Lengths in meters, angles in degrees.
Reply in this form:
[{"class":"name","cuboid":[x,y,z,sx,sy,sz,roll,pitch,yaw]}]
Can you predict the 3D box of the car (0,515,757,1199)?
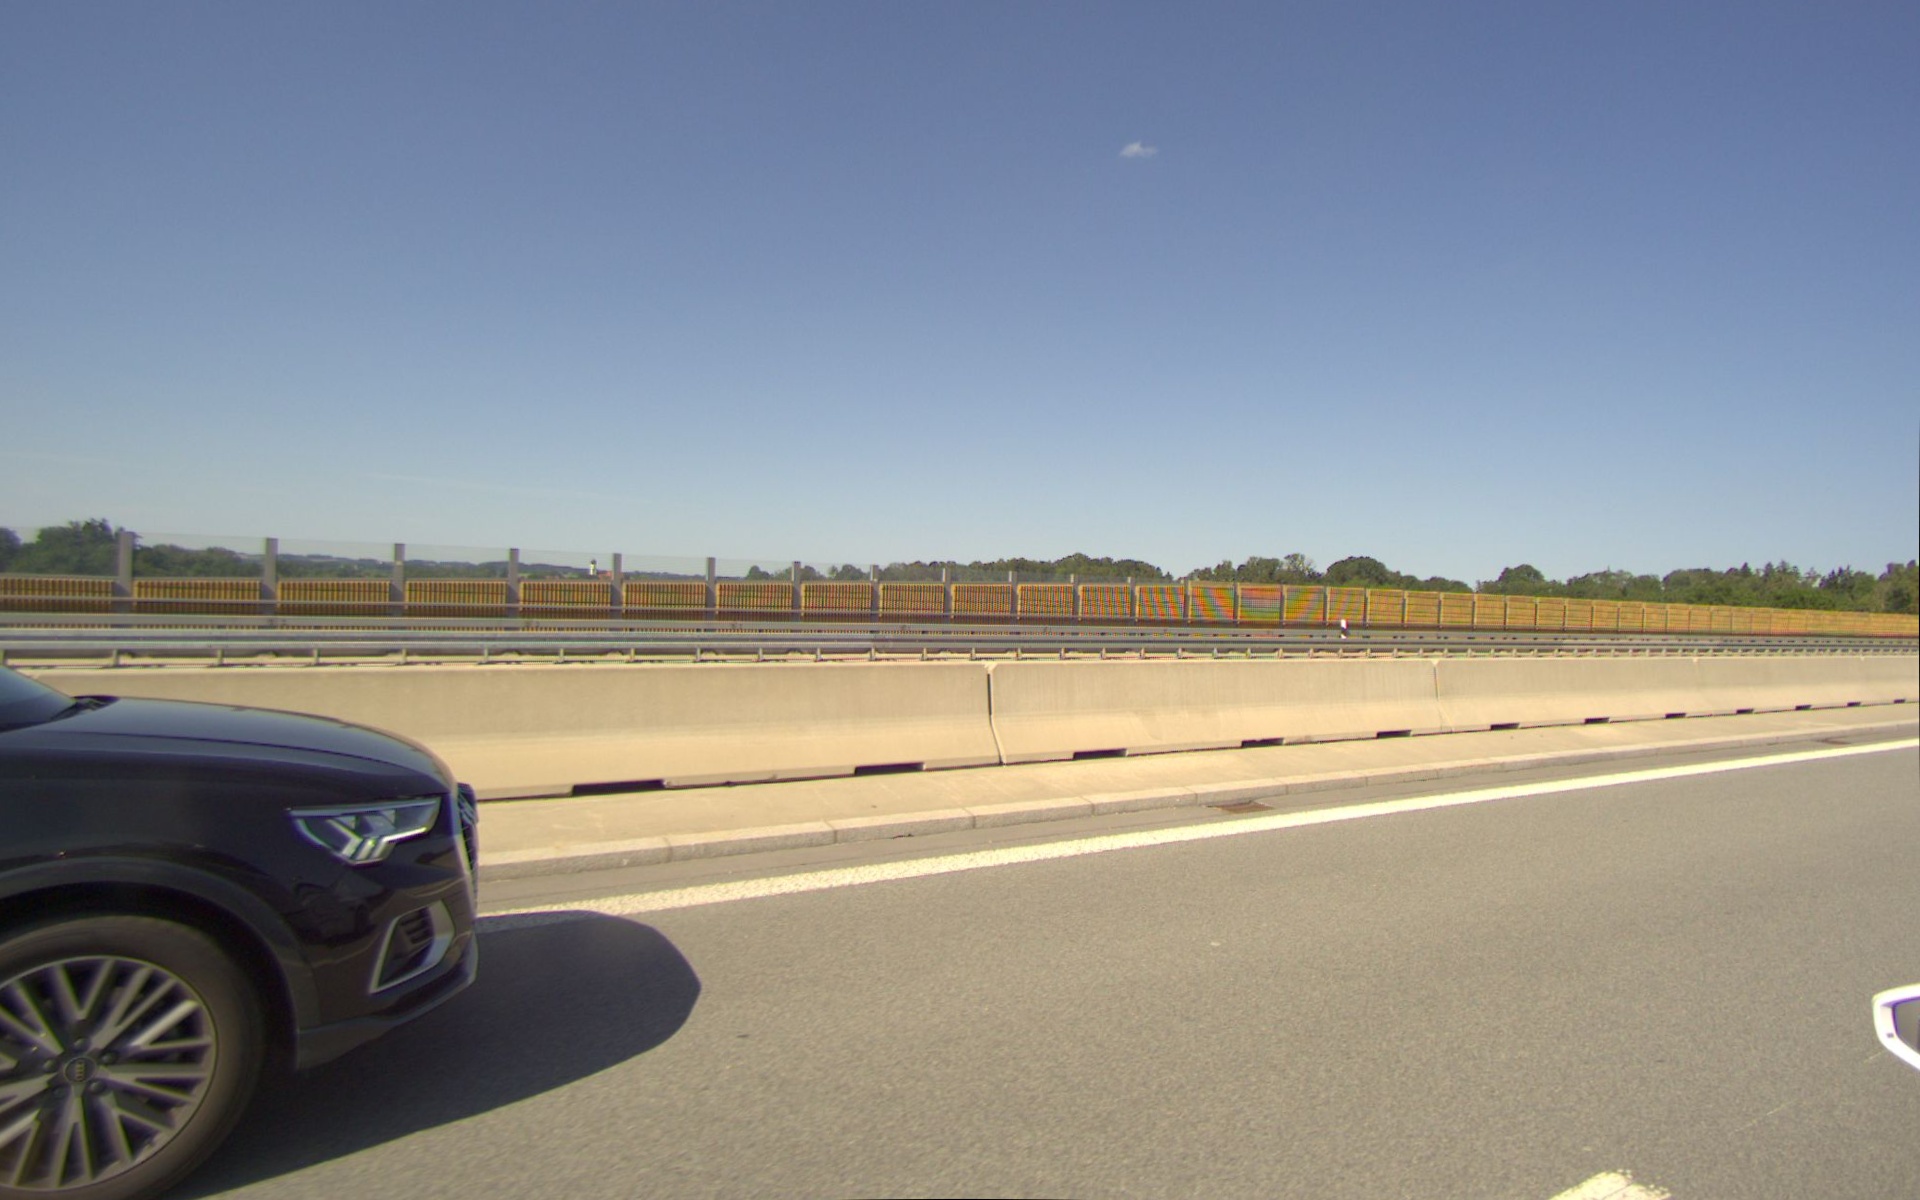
[{"class":"car","cuboid":[-3.278,0.594,2.495,5.161,1.609,1.714,2,0,-30]}]
